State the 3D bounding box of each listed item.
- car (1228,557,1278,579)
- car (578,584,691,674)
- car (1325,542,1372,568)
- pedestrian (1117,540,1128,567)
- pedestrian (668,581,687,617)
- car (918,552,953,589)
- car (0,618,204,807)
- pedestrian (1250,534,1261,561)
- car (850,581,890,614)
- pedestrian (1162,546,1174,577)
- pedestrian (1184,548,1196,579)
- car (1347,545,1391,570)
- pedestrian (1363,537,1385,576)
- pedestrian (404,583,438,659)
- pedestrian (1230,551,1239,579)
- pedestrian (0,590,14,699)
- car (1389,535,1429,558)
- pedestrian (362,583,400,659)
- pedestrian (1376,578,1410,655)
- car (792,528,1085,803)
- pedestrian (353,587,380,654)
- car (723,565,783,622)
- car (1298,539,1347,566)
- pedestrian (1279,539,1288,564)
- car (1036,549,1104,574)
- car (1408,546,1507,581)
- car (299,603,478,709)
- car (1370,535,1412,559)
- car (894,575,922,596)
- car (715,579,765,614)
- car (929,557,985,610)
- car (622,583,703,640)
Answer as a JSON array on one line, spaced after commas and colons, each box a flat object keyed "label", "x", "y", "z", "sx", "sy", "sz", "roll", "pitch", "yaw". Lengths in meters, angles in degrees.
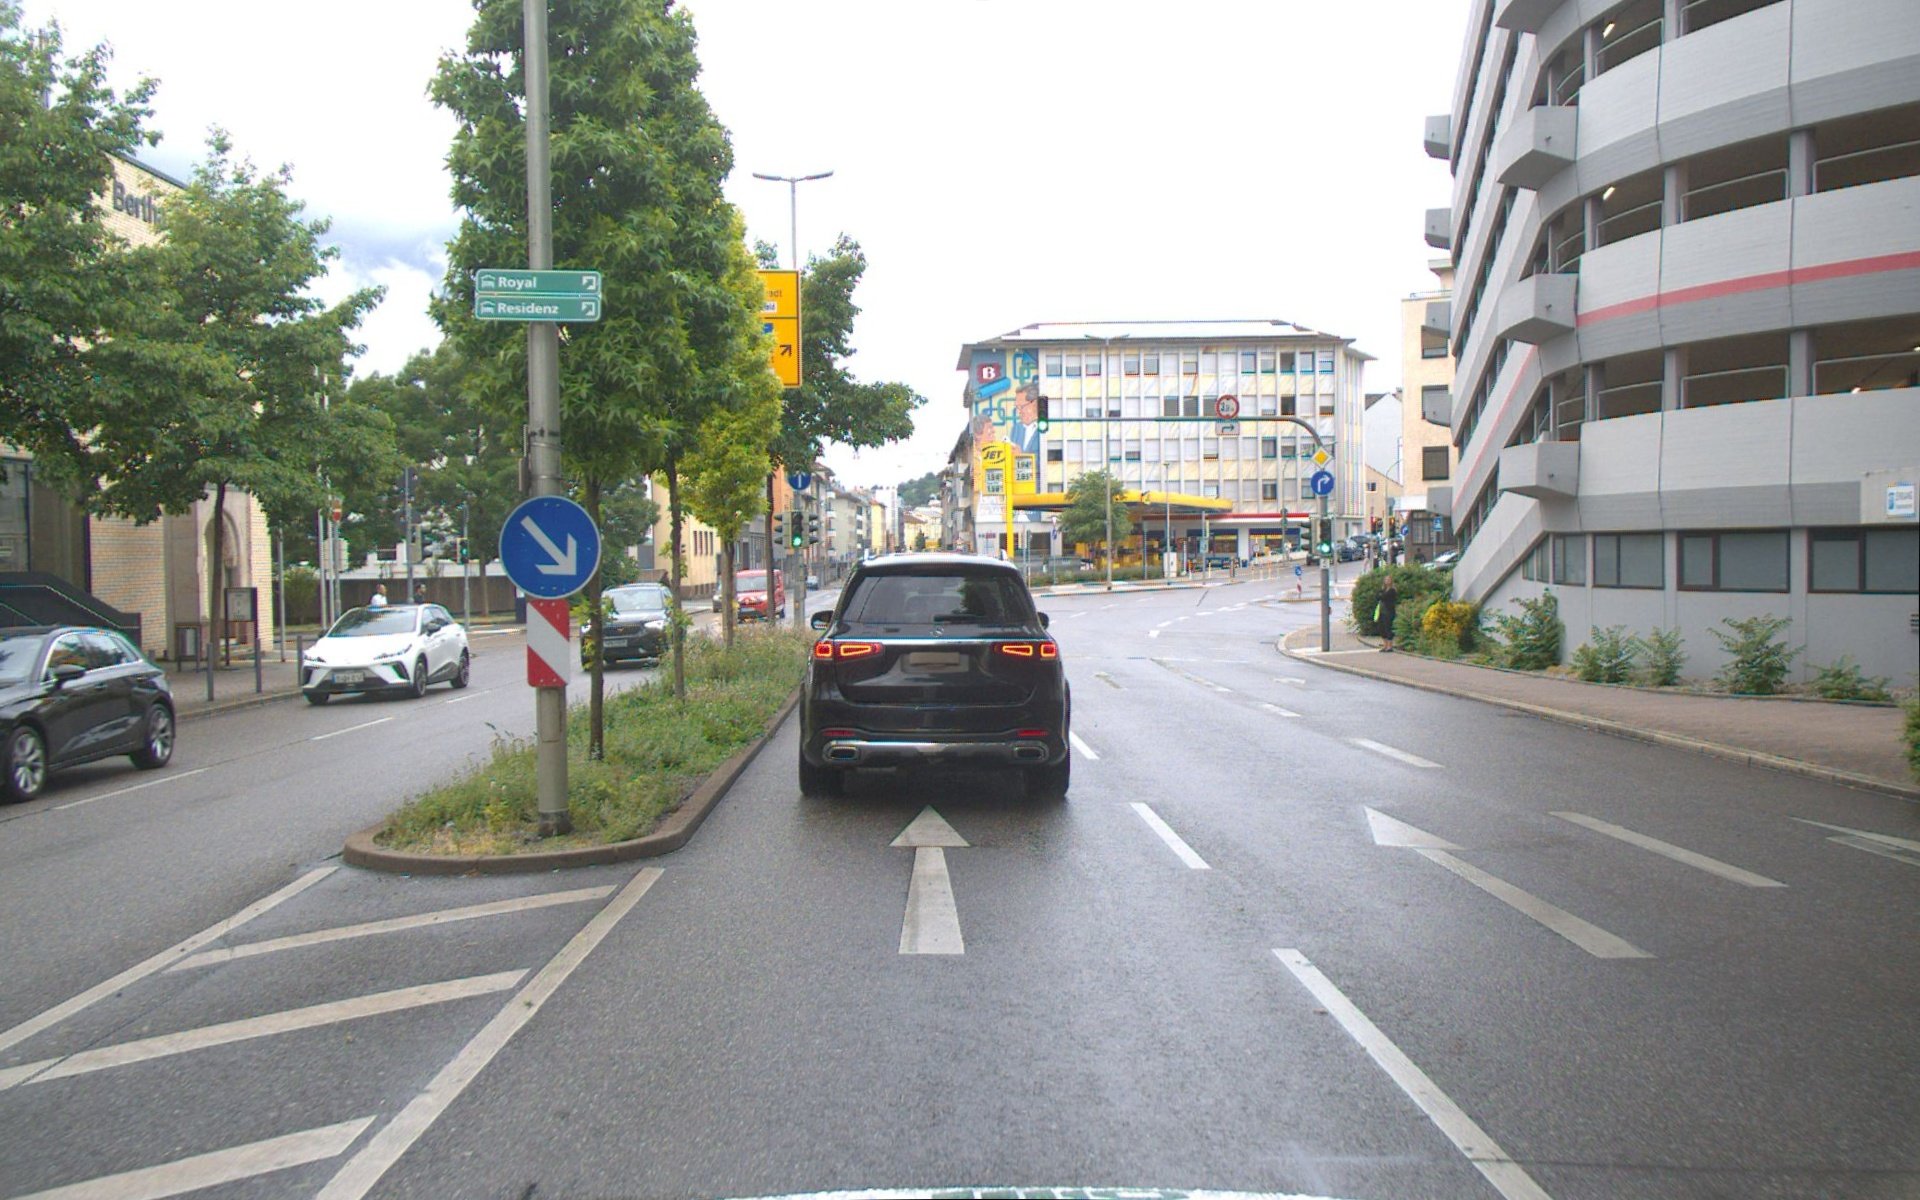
[{"label": "car", "x": 21.378, "y": -2.322, "z": 120.597, "sx": 1.961, "sy": 1.422, "sz": 3.983, "roll": 0, "pitch": -1, "yaw": 37}, {"label": "car", "x": -6.719, "y": 0.548, "z": 34.502, "sx": 1.698, "sy": 1.654, "sz": 4.228, "roll": -3, "pitch": 1, "yaw": -4}, {"label": "car", "x": 27.216, "y": -3.151, "z": 115.723, "sx": 1.958, "sy": 1.735, "sz": 3.990, "roll": -1, "pitch": 1, "yaw": 32}, {"label": "pedestrian", "x": 10.687, "y": -3.042, "z": 108.751, "sx": 0.516, "sy": 1.757, "sz": 0.688, "roll": 0, "pitch": 1, "yaw": 28}, {"label": "pedestrian", "x": -13.940, "y": -0.068, "z": 81.648, "sx": 0.639, "sy": 1.757, "sz": 0.625, "roll": -1, "pitch": 1, "yaw": 45}, {"label": "car", "x": -1.458, "y": -1.713, "z": 97.388, "sx": 1.953, "sy": 2.049, "sz": 3.998, "roll": 1, "pitch": -1, "yaw": -2}, {"label": "car", "x": -8.444, "y": 0.945, "z": 14.666, "sx": 1.698, "sy": 1.418, "sz": 4.196, "roll": -3, "pitch": 0, "yaw": -4}, {"label": "pedestrian", "x": 19.513, "y": -3.490, "z": 109.191, "sx": 0.515, "sy": 1.757, "sz": 0.689, "roll": -1, "pitch": 1, "yaw": 26}, {"label": "car", "x": -4.662, "y": -0.101, "z": 86.256, "sx": 1.953, "sy": 1.642, "sz": 4.188, "roll": 1, "pitch": -1, "yaw": -2}, {"label": "pedestrian", "x": 11.857, "y": -2.210, "z": 94.289, "sx": 0.515, "sy": 1.757, "sz": 0.689, "roll": -1, "pitch": 1, "yaw": 26}, {"label": "pedestrian", "x": 12.910, "y": -2.057, "z": 92.827, "sx": 0.560, "sy": 1.727, "sz": 0.631, "roll": 1, "pitch": -1, "yaw": 0}, {"label": "car", "x": 29.680, "y": -3.077, "z": 119.990, "sx": 1.958, "sy": 1.735, "sz": 3.990, "roll": -1, "pitch": 1, "yaw": 32}, {"label": "pedestrian", "x": 23.378, "y": -2.466, "z": 93.399, "sx": 0.838, "sy": 2.165, "sz": 0.947, "roll": -2, "pitch": 1, "yaw": -7}, {"label": "pedestrian", "x": -12.870, "y": 0.497, "z": 39.510, "sx": 0.675, "sy": 1.788, "sz": 0.716, "roll": -1, "pitch": 1, "yaw": -12}, {"label": "pedestrian", "x": 14.233, "y": -1.816, "z": 85.837, "sx": 0.388, "sy": 1.424, "sz": 0.446, "roll": 1, "pitch": -1, "yaw": 0}, {"label": "pedestrian", "x": -15.234, "y": 0.684, "z": 25.621, "sx": 0.630, "sy": 1.695, "sz": 1.017, "roll": 1, "pitch": -1, "yaw": -7}, {"label": "car", "x": 35.250, "y": -4.190, "z": 129.738, "sx": 1.958, "sy": 1.735, "sz": 3.990, "roll": -1, "pitch": 1, "yaw": 32}, {"label": "pedestrian", "x": -13.196, "y": 0.474, "z": 37.680, "sx": 0.599, "sy": 1.685, "sz": 0.691, "roll": -1, "pitch": 1, "yaw": -4}, {"label": "pedestrian", "x": 9.914, "y": 0.369, "z": 37.849, "sx": 0.634, "sy": 1.740, "sz": 0.470, "roll": 0, "pitch": -1, "yaw": 35}, {"label": "car", "x": -0.181, "y": 0.459, "z": 13.177, "sx": 1.953, "sy": 1.832, "sz": 3.999, "roll": 1, "pitch": -1, "yaw": -1}, {"label": "pedestrian", "x": -13.984, "y": 0.472, "z": 38.977, "sx": 0.430, "sy": 1.560, "sz": 0.545, "roll": -1, "pitch": 1, "yaw": -4}, {"label": "car", "x": -7.518, "y": -0.249, "z": 60.465, "sx": 1.757, "sy": 1.886, "sz": 4.789, "roll": -3, "pitch": 0, "yaw": -3}, {"label": "car", "x": 24.439, "y": -3.230, "z": 111.398, "sx": 1.958, "sy": 1.735, "sz": 3.990, "roll": -1, "pitch": 1, "yaw": 32}, {"label": "pedestrian", "x": 21.756, "y": -3.290, "z": 111.263, "sx": 0.474, "sy": 1.669, "sz": 0.438, "roll": 0, "pitch": -1, "yaw": 27}, {"label": "car", "x": 6.697, "y": -2.328, "z": 100.936, "sx": 1.724, "sy": 1.400, "sz": 3.934, "roll": -2, "pitch": 1, "yaw": -44}, {"label": "car", "x": 23.023, "y": -1.684, "z": 76.605, "sx": 4.095, "sy": 1.464, "sz": 1.860, "roll": -2, "pitch": 1, "yaw": 5}, {"label": "car", "x": -9.436, "y": 0.868, "z": 27.656, "sx": 1.698, "sy": 1.494, "sz": 4.228, "roll": -3, "pitch": 1, "yaw": -4}, {"label": "car", "x": 32.641, "y": -4.020, "z": 125.106, "sx": 1.958, "sy": 1.735, "sz": 3.990, "roll": -1, "pitch": 1, "yaw": 32}, {"label": "car", "x": -4.162, "y": -1.154, "z": 132.502, "sx": 1.952, "sy": 1.574, "sz": 4.190, "roll": 1, "pitch": -1, "yaw": 1}, {"label": "car", "x": -10.133, "y": -0.188, "z": 76.432, "sx": 1.809, "sy": 1.454, "sz": 4.434, "roll": -3, "pitch": 2, "yaw": -2}, {"label": "car", "x": -0.154, "y": -0.572, "z": 60.606, "sx": 1.953, "sy": 1.832, "sz": 3.999, "roll": 1, "pitch": -1, "yaw": -1}, {"label": "car", "x": -9.318, "y": 0.336, "z": 52.149, "sx": 1.851, "sy": 1.614, "sz": 4.534, "roll": -3, "pitch": 0, "yaw": -3}]
